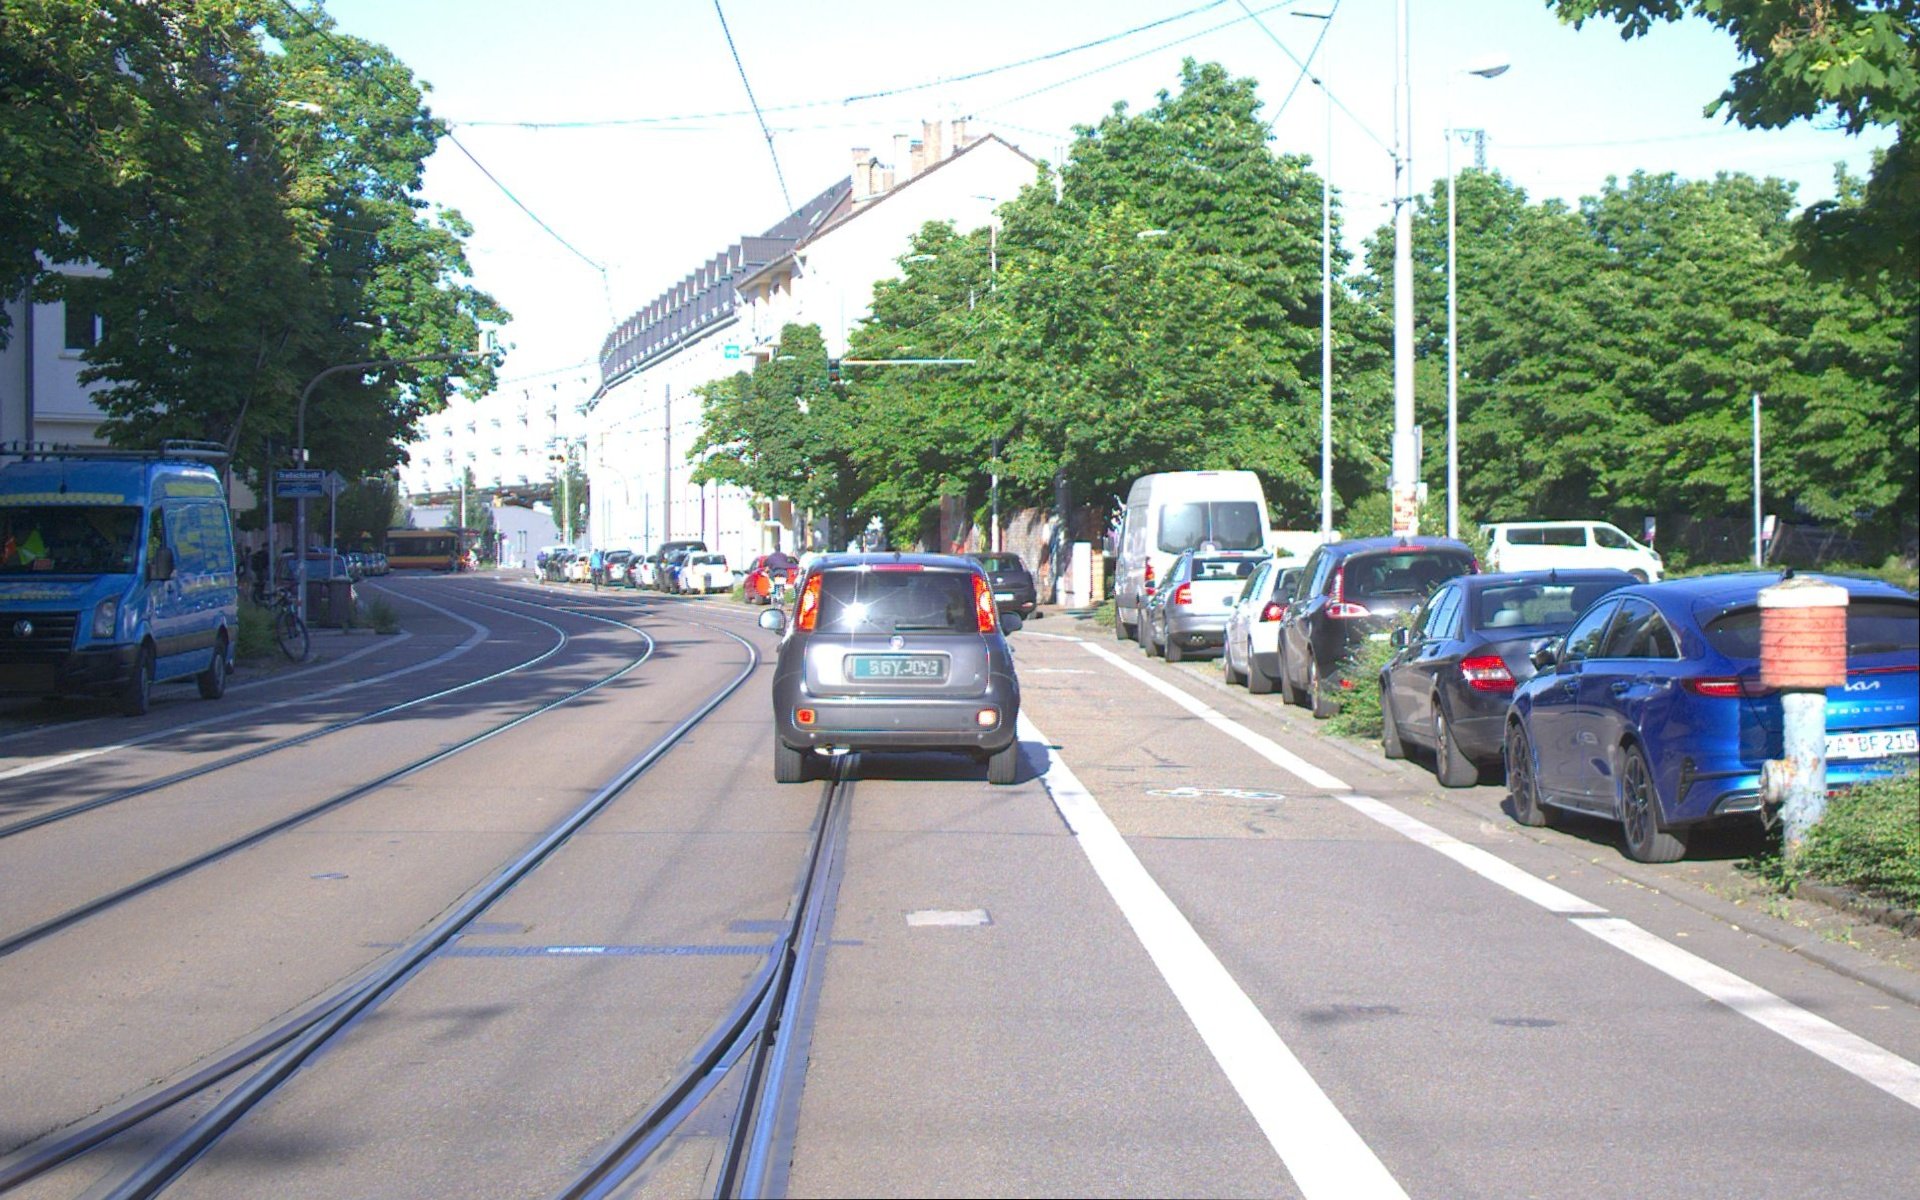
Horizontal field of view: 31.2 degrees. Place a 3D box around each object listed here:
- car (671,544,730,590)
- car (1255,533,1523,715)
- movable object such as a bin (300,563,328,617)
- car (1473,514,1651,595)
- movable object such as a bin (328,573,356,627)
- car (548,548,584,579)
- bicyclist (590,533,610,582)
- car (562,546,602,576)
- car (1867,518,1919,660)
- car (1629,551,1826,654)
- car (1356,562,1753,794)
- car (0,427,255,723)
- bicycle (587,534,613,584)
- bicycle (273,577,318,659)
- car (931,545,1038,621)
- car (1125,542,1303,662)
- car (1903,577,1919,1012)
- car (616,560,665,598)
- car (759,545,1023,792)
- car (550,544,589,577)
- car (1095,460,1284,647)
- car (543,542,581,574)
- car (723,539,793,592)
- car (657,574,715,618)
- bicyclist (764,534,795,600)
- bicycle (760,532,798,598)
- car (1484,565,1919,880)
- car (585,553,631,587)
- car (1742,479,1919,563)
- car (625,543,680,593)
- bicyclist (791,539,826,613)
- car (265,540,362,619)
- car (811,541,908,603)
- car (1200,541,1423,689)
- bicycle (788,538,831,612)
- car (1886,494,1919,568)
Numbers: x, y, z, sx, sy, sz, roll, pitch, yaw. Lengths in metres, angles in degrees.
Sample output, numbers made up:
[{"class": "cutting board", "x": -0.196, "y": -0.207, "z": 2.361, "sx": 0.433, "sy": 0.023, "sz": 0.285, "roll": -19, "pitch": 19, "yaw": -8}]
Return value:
[{"class": "car", "x": -9.233, "y": -1.186, "z": 122.093, "sx": 1.655, "sy": 1.566, "sz": 3.500, "roll": 1, "pitch": 1, "yaw": -12}, {"class": "car", "x": 4.022, "y": 0.188, "z": 32.888, "sx": 1.727, "sy": 1.599, "sz": 4.343, "roll": 1, "pitch": 1, "yaw": -4}, {"class": "movable object such as a bin", "x": -12.150, "y": -0.191, "z": 64.639, "sx": 0.484, "sy": 0.984, "sz": 0.660, "roll": 1, "pitch": 0, "yaw": -9}, {"class": "car", "x": 15.933, "y": -1.198, "z": 91.110, "sx": 4.279, "sy": 2.007, "sz": 1.774, "roll": -2, "pitch": 1, "yaw": -6}, {"class": "movable object such as a bin", "x": -11.636, "y": -0.002, "z": 64.727, "sx": 0.484, "sy": 0.984, "sz": 0.660, "roll": 1, "pitch": 0, "yaw": -9}, {"class": "car", "x": -20.928, "y": -1.957, "z": 182.618, "sx": 1.582, "sy": 1.593, "sz": 3.377, "roll": 1, "pitch": 1, "yaw": -12}, {"class": "bicyclist", "x": -14.690, "y": -1.736, "z": 140.276, "sx": 0.715, "sy": 2.007, "sz": 0.832, "roll": 1, "pitch": 0, "yaw": -12}, {"class": "car", "x": -18.052, "y": -1.859, "z": 164.063, "sx": 1.582, "sy": 1.400, "sz": 3.377, "roll": 1, "pitch": 1, "yaw": -12}, {"class": "car", "x": 11.250, "y": -0.086, "z": 34.667, "sx": 3.702, "sy": 1.395, "sz": 1.759, "roll": 1, "pitch": 1, "yaw": -2}, {"class": "car", "x": 8.159, "y": 0.007, "z": 36.749, "sx": 1.309, "sy": 1.030, "sz": 3.057, "roll": 1, "pitch": 1, "yaw": -2}, {"class": "car", "x": 4.056, "y": 0.475, "z": 24.202, "sx": 1.727, "sy": 1.459, "sz": 4.499, "roll": 1, "pitch": 1, "yaw": -4}, {"class": "car", "x": -9.014, "y": -0.276, "z": 35.929, "sx": 2.017, "sy": 2.816, "sz": 6.032, "roll": 1, "pitch": 1, "yaw": 0}, {"class": "bicycle", "x": -14.690, "y": -1.694, "z": 140.232, "sx": 0.741, "sy": 2.007, "sz": 2.812, "roll": 1, "pitch": 1, "yaw": -12}, {"class": "bicycle", "x": -9.580, "y": 0.246, "z": 49.599, "sx": 0.512, "sy": 1.130, "sz": 2.032, "roll": 1, "pitch": 1, "yaw": -8}, {"class": "car", "x": 0.490, "y": -0.383, "z": 72.738, "sx": 1.688, "sy": 1.525, "sz": 4.001, "roll": -2, "pitch": 1, "yaw": -8}, {"class": "car", "x": 3.401, "y": -0.005, "z": 46.820, "sx": 1.910, "sy": 1.524, "sz": 4.601, "roll": -1, "pitch": 1, "yaw": -2}, {"class": "car", "x": 4.255, "y": 0.653, "z": 9.898, "sx": 1.824, "sy": 1.487, "sz": 3.815, "roll": -2, "pitch": 1, "yaw": -3}, {"class": "car", "x": -13.314, "y": -0.883, "z": 143.171, "sx": 1.655, "sy": 1.495, "sz": 3.130, "roll": 1, "pitch": 1, "yaw": -12}, {"class": "car", "x": -0.485, "y": 0.403, "z": 24.001, "sx": 1.650, "sy": 1.536, "sz": 4.235, "roll": 1, "pitch": 1, "yaw": -1}, {"class": "car", "x": -19.327, "y": -1.966, "z": 169.926, "sx": 1.582, "sy": 1.593, "sz": 3.377, "roll": 1, "pitch": 1, "yaw": -12}, {"class": "car", "x": 3.489, "y": -0.718, "z": 53.524, "sx": 2.180, "sy": 2.656, "sz": 6.092, "roll": -2, "pitch": 1, "yaw": -2}, {"class": "car", "x": -20.370, "y": -2.143, "z": 175.832, "sx": 1.582, "sy": 1.593, "sz": 3.377, "roll": 1, "pitch": 1, "yaw": -12}, {"class": "car", "x": -6.125, "y": -1.061, "z": 103.957, "sx": 1.635, "sy": 1.503, "sz": 3.398, "roll": -3, "pitch": 1, "yaw": -11}, {"class": "car", "x": -10.095, "y": -0.152, "z": 126.362, "sx": 1.655, "sy": 1.566, "sz": 3.877, "roll": 1, "pitch": 1, "yaw": -12}, {"class": "bicyclist", "x": -4.856, "y": -0.880, "z": 92.291, "sx": 0.699, "sy": 1.753, "sz": 0.758, "roll": 1, "pitch": 0, "yaw": -12}, {"class": "bicycle", "x": -4.863, "y": -0.936, "z": 92.417, "sx": 0.675, "sy": 1.741, "sz": 2.158, "roll": 1, "pitch": 1, "yaw": -12}, {"class": "car", "x": 4.138, "y": 0.562, "z": 18.362, "sx": 1.727, "sy": 1.459, "sz": 4.342, "roll": 1, "pitch": 1, "yaw": -4}, {"class": "car", "x": -15.549, "y": -1.341, "z": 151.777, "sx": 1.582, "sy": 1.400, "sz": 3.377, "roll": -4, "pitch": 2, "yaw": -12}, {"class": "car", "x": 23.697, "y": -2.151, "z": 93.545, "sx": 4.186, "sy": 2.233, "sz": 2.144, "roll": -1, "pitch": 1, "yaw": -13}, {"class": "car", "x": -12.387, "y": -1.291, "z": 138.224, "sx": 1.655, "sy": 1.937, "sz": 4.666, "roll": 1, "pitch": 1, "yaw": -12}, {"class": "bicyclist", "x": -3.653, "y": -0.579, "z": 82.952, "sx": 0.699, "sy": 1.753, "sz": 0.758, "roll": 1, "pitch": 0, "yaw": -12}, {"class": "car", "x": -13.058, "y": -0.430, "z": 69.643, "sx": 1.688, "sy": 1.525, "sz": 4.001, "roll": 1, "pitch": 1, "yaw": -7}, {"class": "car", "x": -2.632, "y": -0.730, "z": 89.198, "sx": 1.688, "sy": 1.525, "sz": 4.001, "roll": -2, "pitch": 1, "yaw": -13}, {"class": "car", "x": 3.782, "y": 0.130, "z": 37.671, "sx": 1.727, "sy": 1.507, "sz": 4.252, "roll": 1, "pitch": 1, "yaw": -4}, {"class": "bicycle", "x": -3.643, "y": -0.610, "z": 82.970, "sx": 0.675, "sy": 1.741, "sz": 2.158, "roll": 1, "pitch": 1, "yaw": -12}, {"class": "car", "x": 25.644, "y": -1.661, "z": 85.387, "sx": 4.681, "sy": 1.809, "sz": 1.962, "roll": 1, "pitch": 1, "yaw": -9}]
